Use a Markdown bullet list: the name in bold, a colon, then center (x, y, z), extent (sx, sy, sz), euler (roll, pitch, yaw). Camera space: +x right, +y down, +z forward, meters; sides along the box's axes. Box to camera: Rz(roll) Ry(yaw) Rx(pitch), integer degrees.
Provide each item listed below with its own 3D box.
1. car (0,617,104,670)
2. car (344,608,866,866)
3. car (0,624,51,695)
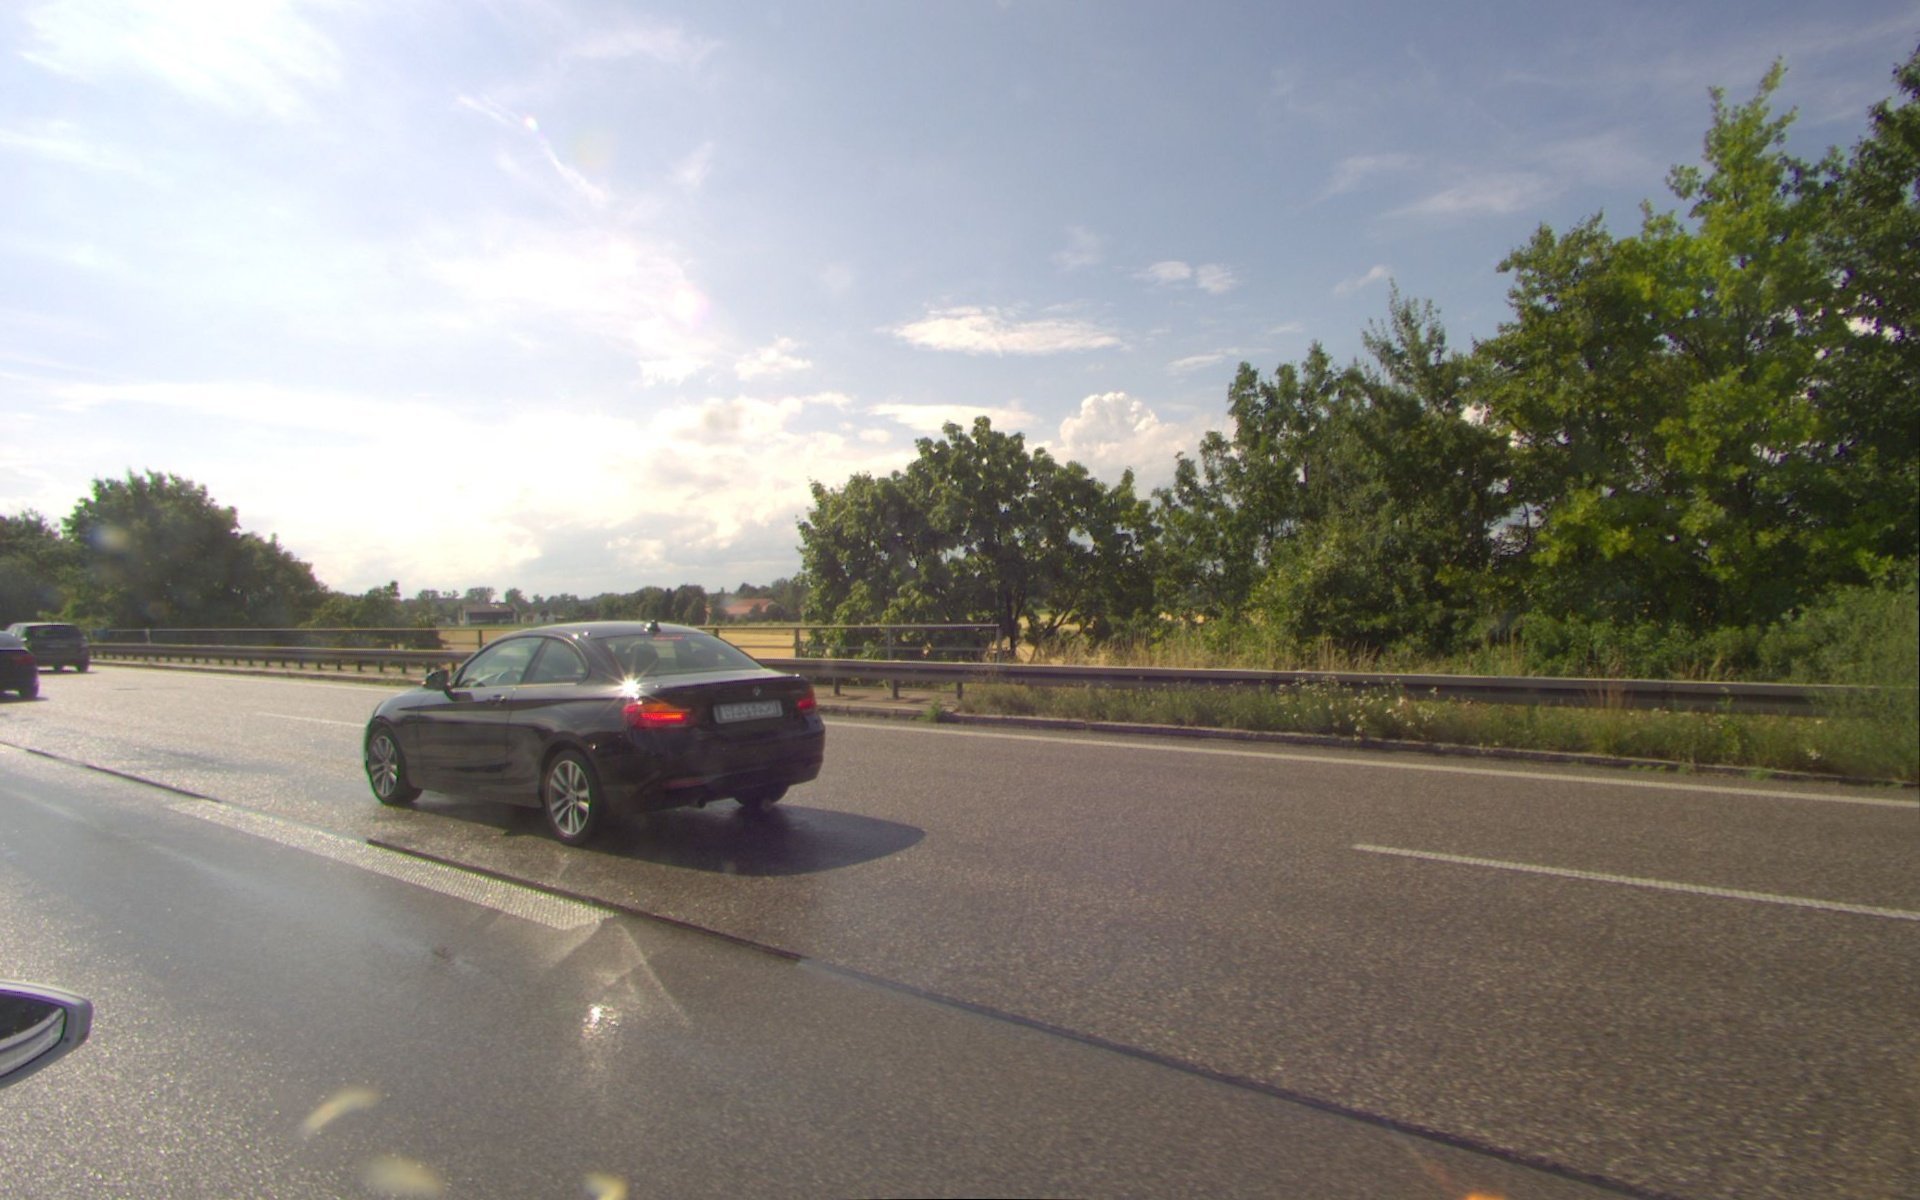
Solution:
- **car**: center (-30.280, 1.408, 33.329), extent (4.328, 1.634, 1.782), euler (-1, 0, 37)
- **car**: center (-2.915, 0.850, 7.846), extent (4.201, 1.483, 1.842), euler (-1, 0, 37)
- **car**: center (-21.034, 1.240, 21.341), extent (3.785, 1.439, 1.735), euler (-1, 0, 36)
